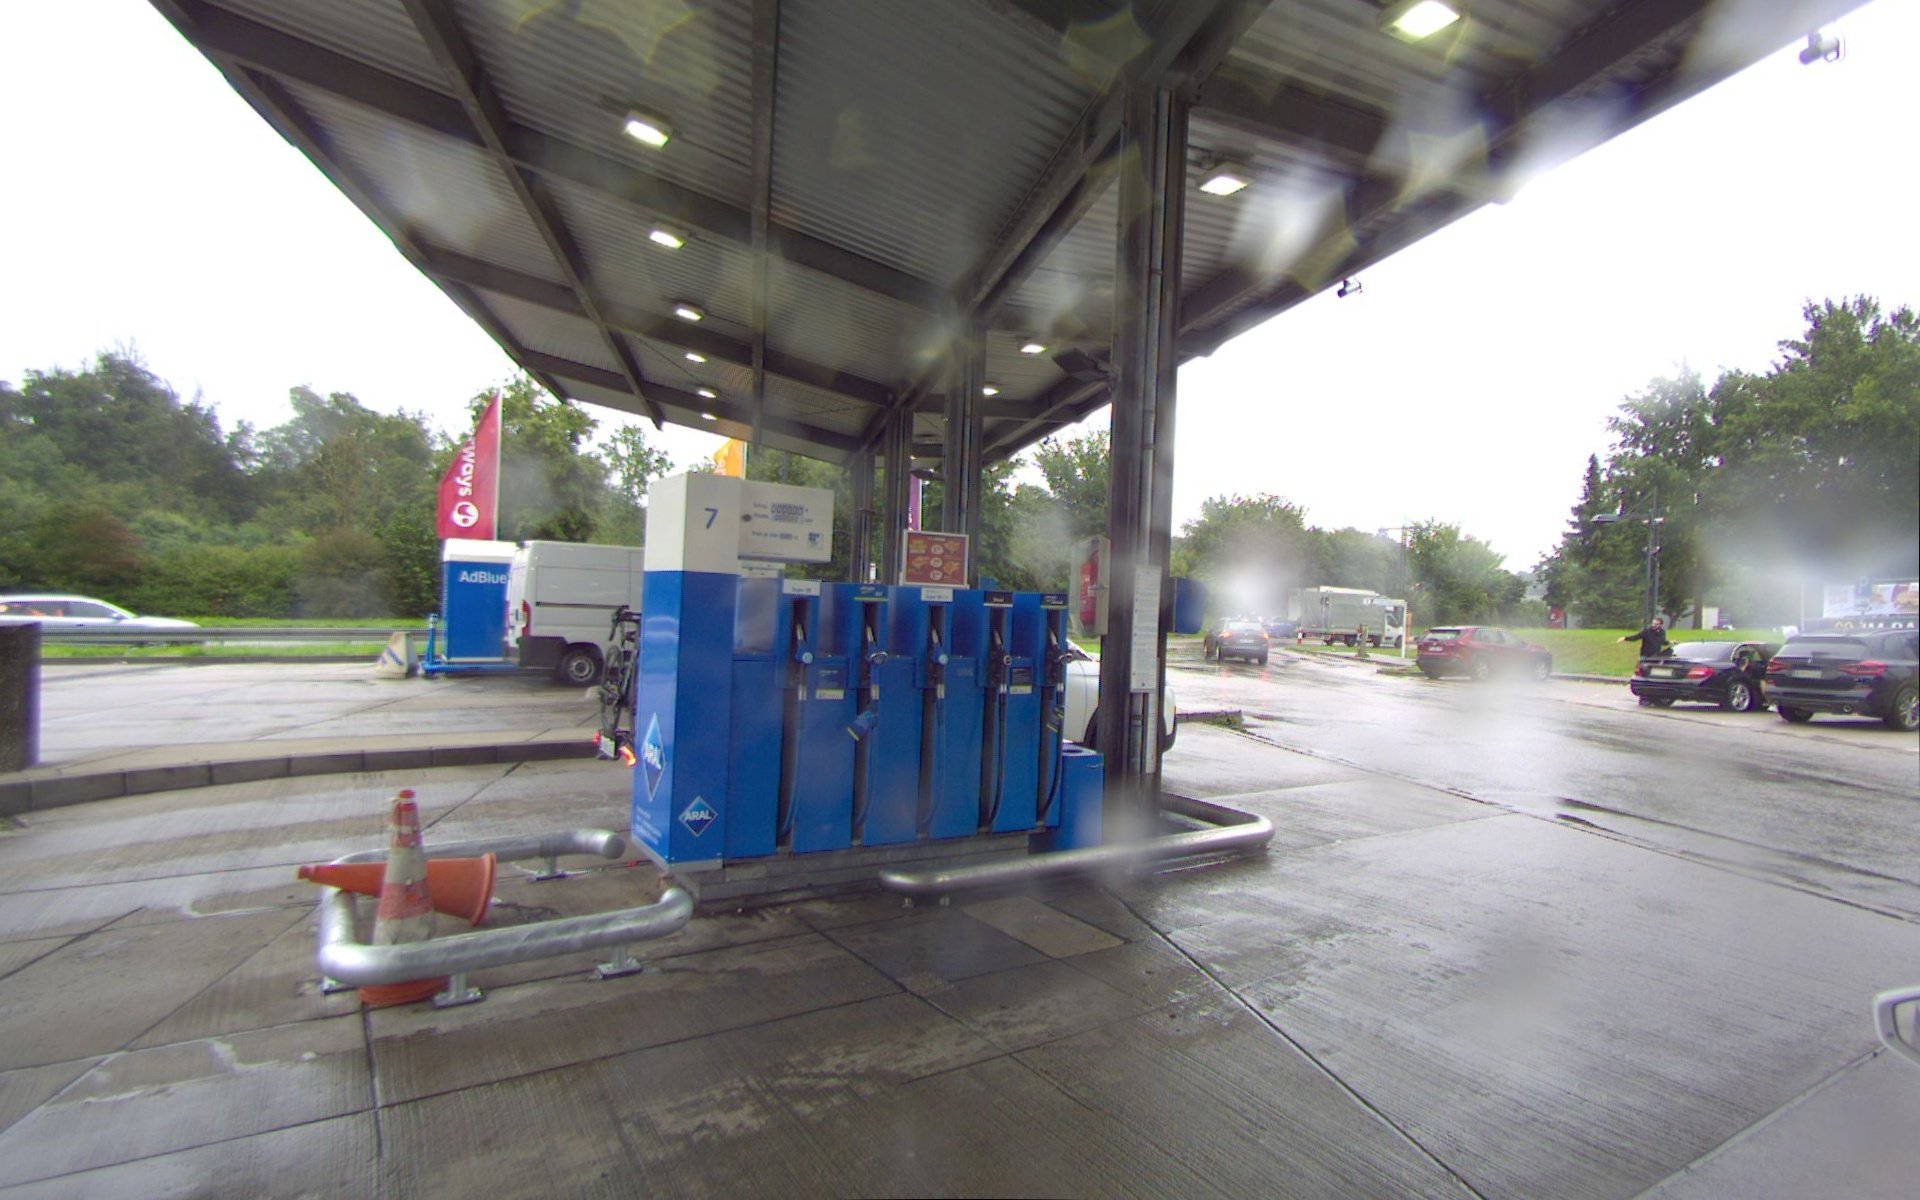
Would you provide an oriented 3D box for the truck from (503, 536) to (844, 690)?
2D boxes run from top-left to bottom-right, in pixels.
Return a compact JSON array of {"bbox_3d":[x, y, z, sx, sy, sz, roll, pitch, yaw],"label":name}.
[{"bbox_3d":[-5.326,0.287,18.948,5.793,2.527,2.221,2,0,-30],"label":"truck"}]

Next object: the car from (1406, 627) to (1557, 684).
[{"bbox_3d":[16.089,1.665,31.009,4.283,1.666,1.933,1,-2,-25],"label":"car"}]

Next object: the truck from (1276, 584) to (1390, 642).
[{"bbox_3d":[31.896,1.173,85.157,3.498,4.397,16.922,2,0,40],"label":"truck"}]

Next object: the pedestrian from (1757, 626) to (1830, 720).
[{"bbox_3d":[15.407,1.323,18.590,0.938,1.653,0.702,2,0,35],"label":"pedestrian"}]

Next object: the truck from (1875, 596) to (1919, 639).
[{"bbox_3d":[68.870,1.317,71.703,5.285,2.959,2.191,2,0,-5],"label":"truck"}]

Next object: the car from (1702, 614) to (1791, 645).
[{"bbox_3d":[49.793,1.865,63.699,4.058,1.806,1.843,2,0,25],"label":"car"}]

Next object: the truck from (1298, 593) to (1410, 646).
[{"bbox_3d":[25.052,1.238,63.728,7.265,3.126,2.467,2,0,-28],"label":"truck"}]

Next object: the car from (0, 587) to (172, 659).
[{"bbox_3d":[-21.757,0.566,24.438,3.969,1.650,1.756,3,-1,-41],"label":"car"}]

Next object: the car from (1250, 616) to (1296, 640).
[{"bbox_3d":[22.919,2.050,73.443,1.787,1.704,3.934,2,0,40],"label":"car"}]

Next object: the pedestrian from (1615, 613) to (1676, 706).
[{"bbox_3d":[14.658,1.253,21.508,0.690,1.912,0.894,2,0,6],"label":"pedestrian"}]

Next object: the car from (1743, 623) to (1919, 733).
[{"bbox_3d":[16.184,1.268,17.474,4.274,1.734,2.016,1,-1,-18],"label":"car"}]

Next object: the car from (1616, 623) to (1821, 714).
[{"bbox_3d":[15.954,1.354,21.097,4.293,1.734,2.007,1,-2,-31],"label":"car"}]

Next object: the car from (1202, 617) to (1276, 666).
[{"bbox_3d":[10.418,1.519,37.780,1.960,1.700,4.002,2,-1,5],"label":"car"}]

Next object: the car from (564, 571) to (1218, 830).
[{"bbox_3d":[-0.414,0.698,8.466,5.210,1.629,1.852,2,0,-30],"label":"car"}]
